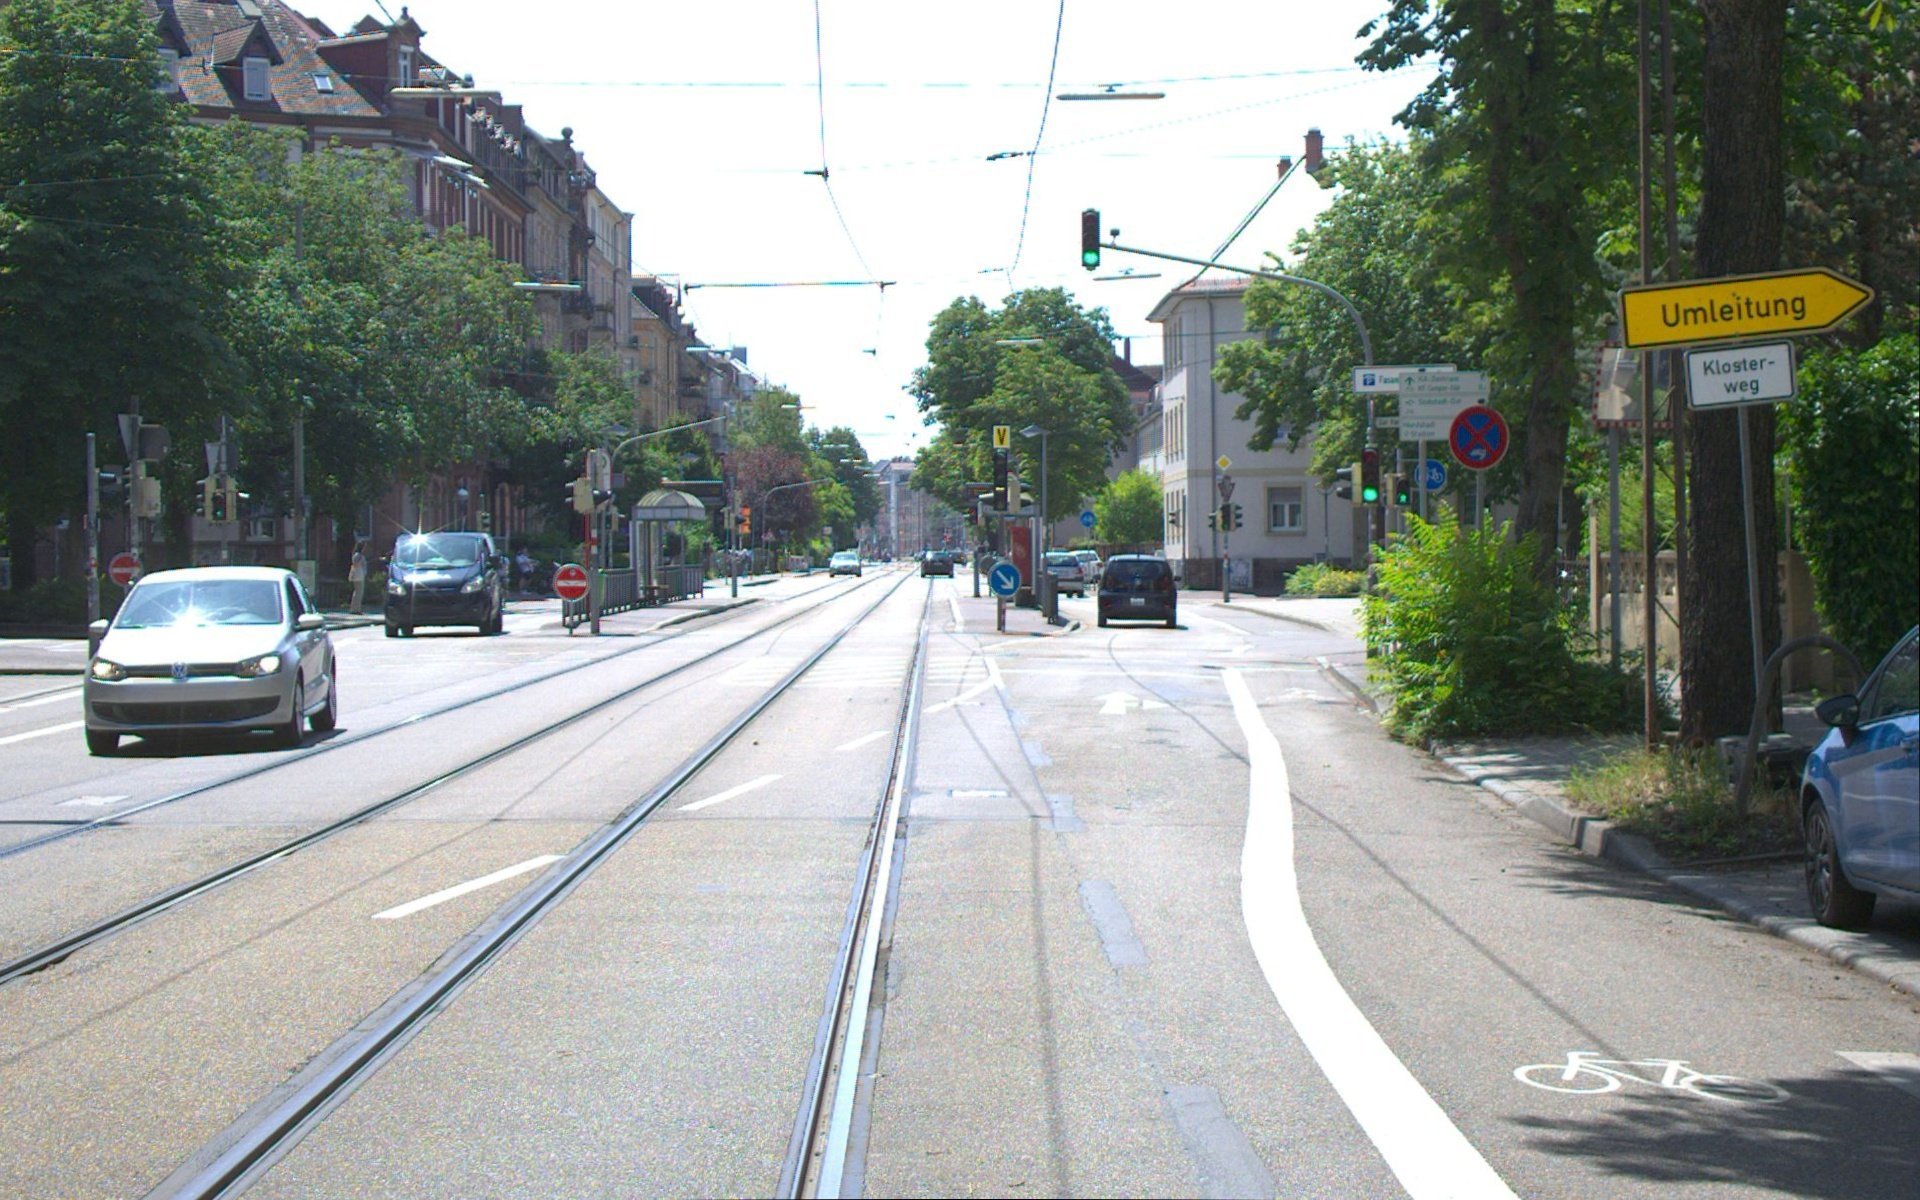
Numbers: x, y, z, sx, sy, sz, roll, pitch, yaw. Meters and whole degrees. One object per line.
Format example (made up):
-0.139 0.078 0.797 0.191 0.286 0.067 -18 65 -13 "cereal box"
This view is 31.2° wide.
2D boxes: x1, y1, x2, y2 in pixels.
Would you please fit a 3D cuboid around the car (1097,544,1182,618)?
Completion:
3.685 -0.401 70.983 1.525 1.439 3.365 -2 0 -1 "car"

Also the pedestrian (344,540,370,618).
-14.609 -0.510 83.299 0.510 1.873 0.493 1 0 4 "pedestrian"

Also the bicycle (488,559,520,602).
-12.435 -0.533 93.770 0.628 1.153 1.978 1 1 -1 "bicycle"

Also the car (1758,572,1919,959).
4.480 0.614 13.594 1.683 1.457 4.000 -2 0 0 "car"

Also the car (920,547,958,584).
-1.142 -1.893 188.807 2.047 2.007 4.607 1 0 -1 "car"

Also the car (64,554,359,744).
-6.084 0.361 28.323 1.708 1.407 3.826 -2 0 -2 "car"

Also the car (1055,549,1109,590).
4.678 -1.191 132.532 1.747 1.468 3.938 -3 1 -2 "car"

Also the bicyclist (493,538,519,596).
-12.401 -0.899 93.890 0.608 1.569 0.585 1 0 -1 "bicyclist"

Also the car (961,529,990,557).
1.132 -4.187 251.843 1.993 2.007 4.000 1 0 -1 "car"

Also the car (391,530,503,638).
-9.730 -0.303 65.495 1.843 1.931 4.824 -2 0 -6 "car"

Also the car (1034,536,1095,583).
3.397 -1.317 112.492 1.524 1.451 3.365 -2 0 -6 "car"

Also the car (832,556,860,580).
-6.533 -1.807 196.429 1.540 1.334 3.719 1 0 -2 "car"

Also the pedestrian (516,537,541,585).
-14.771 -1.343 117.622 0.652 1.609 0.469 0 3 -43 "pedestrian"
